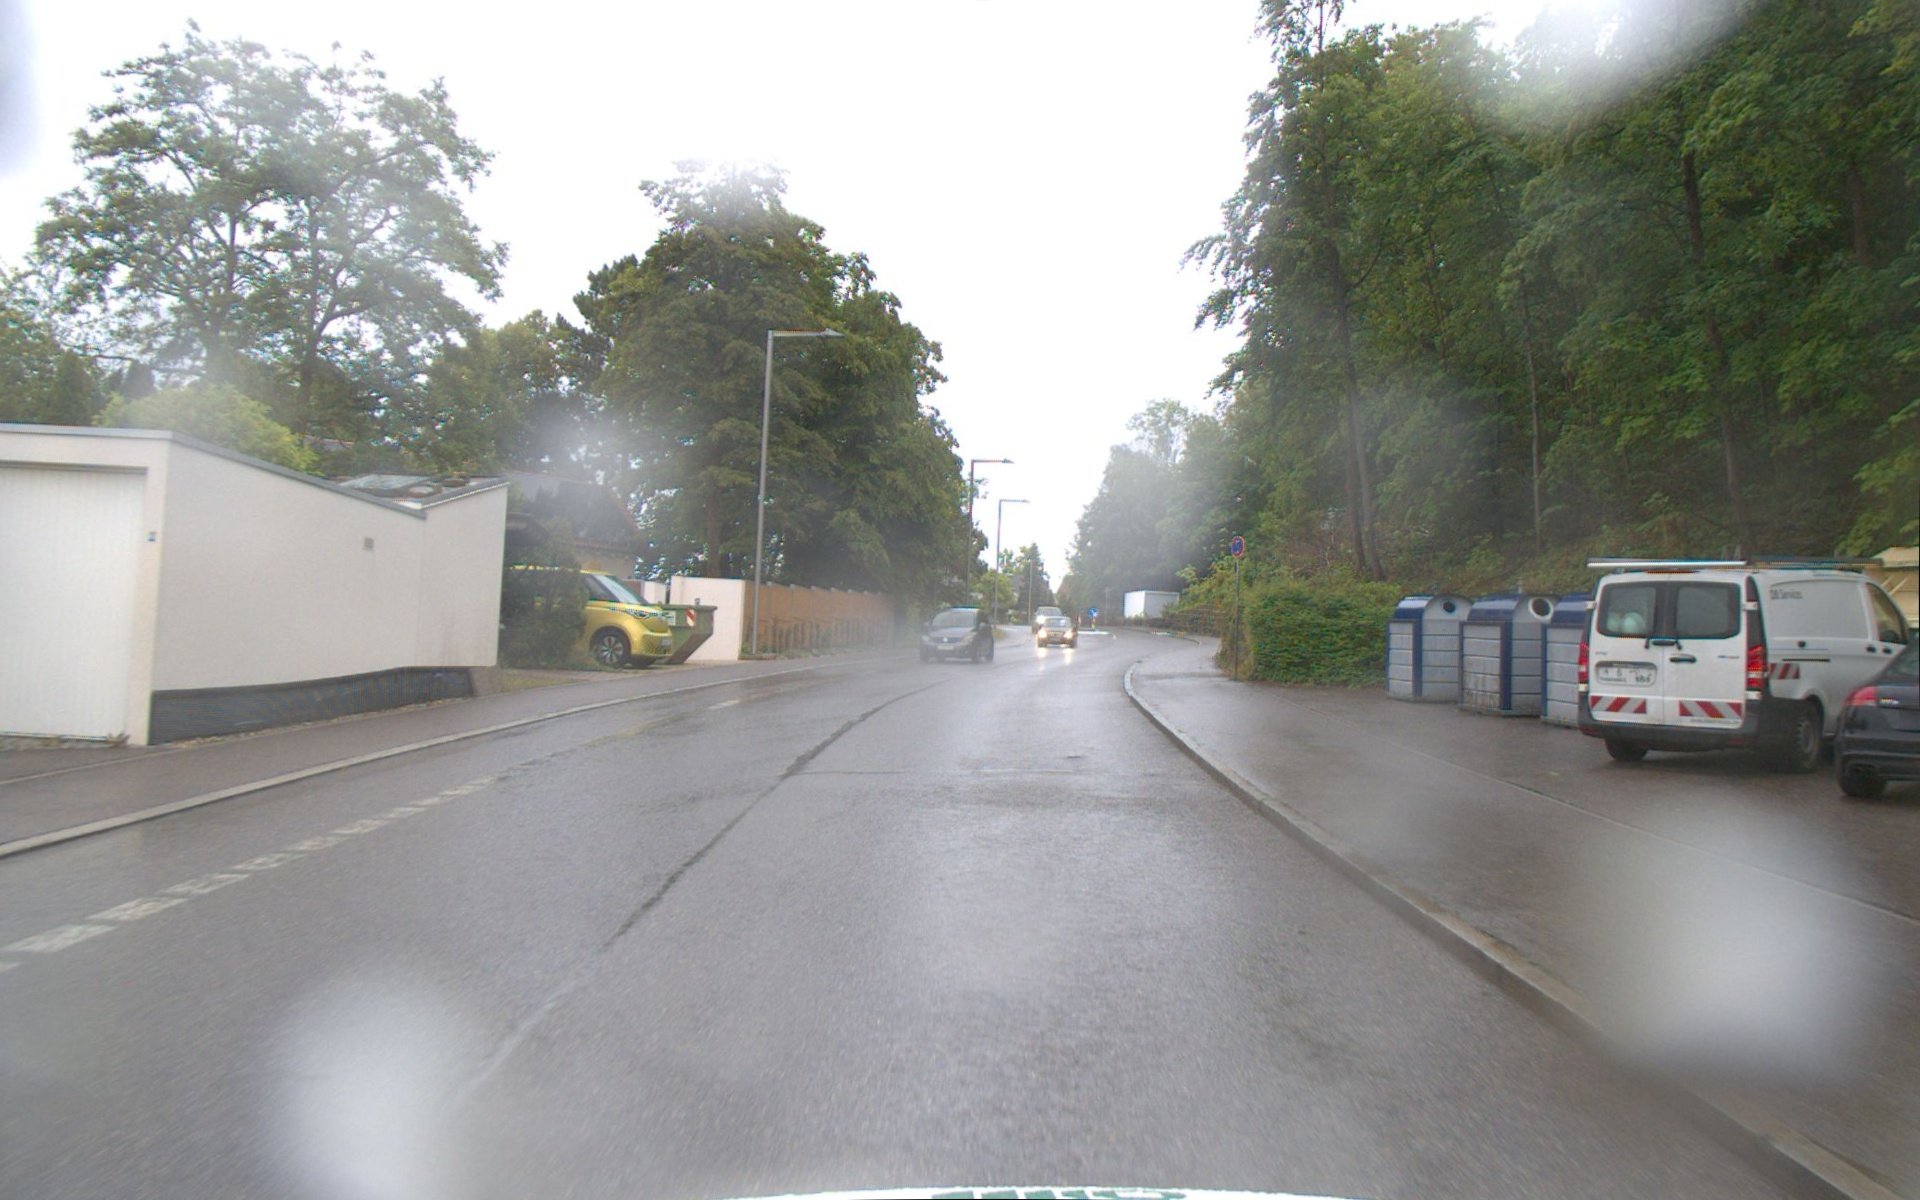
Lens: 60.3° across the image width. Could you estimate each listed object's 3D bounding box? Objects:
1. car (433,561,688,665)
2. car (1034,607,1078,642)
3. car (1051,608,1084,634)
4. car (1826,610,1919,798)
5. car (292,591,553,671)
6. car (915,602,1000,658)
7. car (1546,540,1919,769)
[{"bbox_3d":[-7.881,0.245,32.855,4.407,1.892,2.091,1,0,8],"label":"car"},{"bbox_3d":[4.500,1.151,77.318,1.795,1.538,4.172,2,0,6],"label":"car"},{"bbox_3d":[7.006,1.362,107.563,1.877,1.676,4.549,1,-1,7],"label":"car"},{"bbox_3d":[8.601,0.794,13.334,3.765,1.372,1.734,1,0,-43],"label":"car"},{"bbox_3d":[-9.249,0.521,28.662,3.913,1.326,1.791,0,0,0],"label":"car"},{"bbox_3d":[-0.018,0.869,49.124,1.795,1.538,4.621,2,0,9],"label":"car"},{"bbox_3d":[8.094,0.483,16.667,4.801,1.974,2.123,1,0,-43],"label":"car"}]
